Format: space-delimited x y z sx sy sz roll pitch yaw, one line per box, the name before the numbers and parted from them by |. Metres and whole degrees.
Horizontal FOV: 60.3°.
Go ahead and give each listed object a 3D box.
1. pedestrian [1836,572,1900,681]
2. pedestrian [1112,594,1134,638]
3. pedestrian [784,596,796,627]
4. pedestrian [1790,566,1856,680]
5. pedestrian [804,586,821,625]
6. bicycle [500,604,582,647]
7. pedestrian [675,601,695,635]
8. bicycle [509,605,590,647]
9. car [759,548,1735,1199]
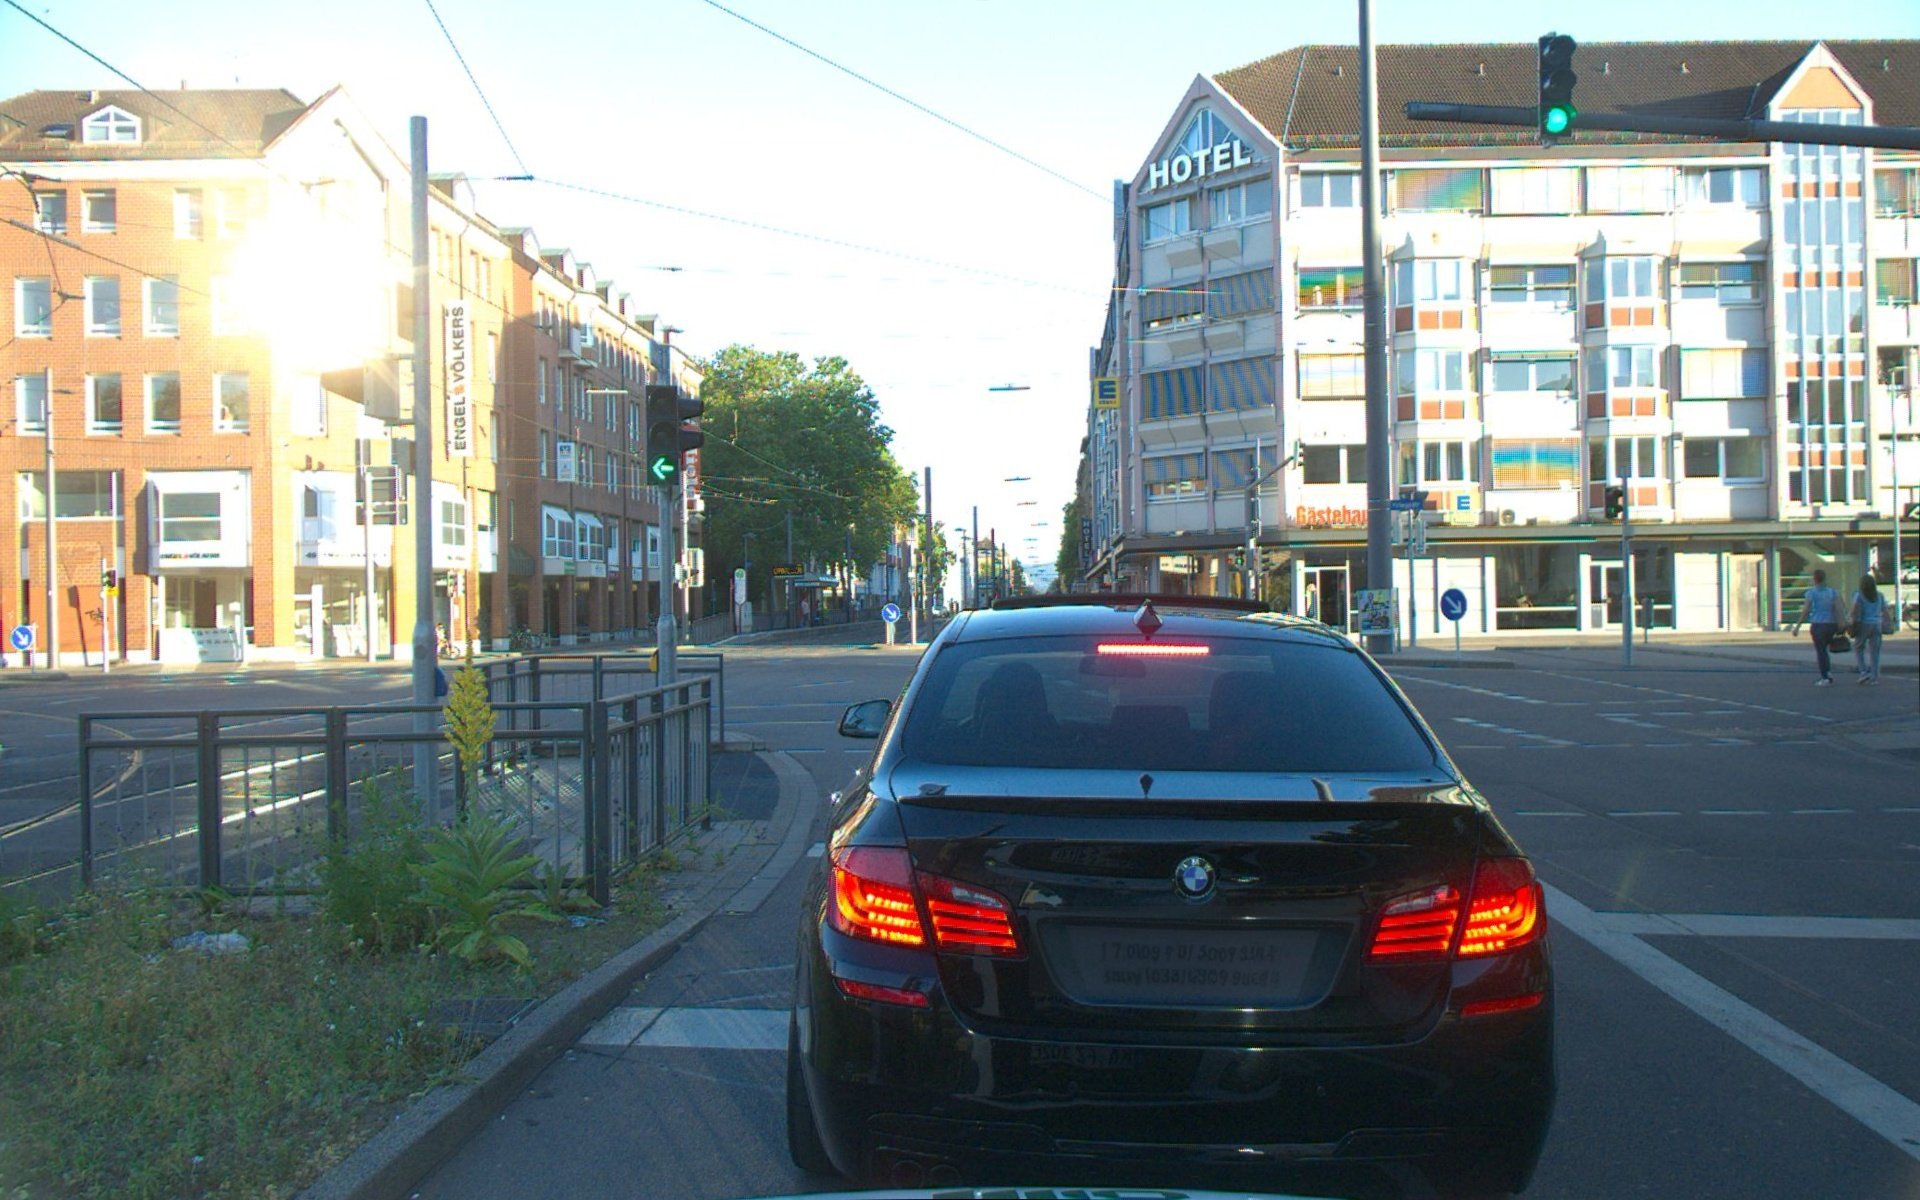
pedestrian | 13.825 0.397 25.174 0.692 1.610 0.822 -2 0 38
pedestrian | 6.115 0.602 62.061 0.691 1.575 0.907 0 3 -1
pedestrian | -9.192 0.626 89.392 0.573 1.686 0.678 -1 0 0
pedestrian | 12.959 0.335 24.832 0.713 1.678 0.768 -2 0 38
pedestrian | -7.939 0.308 89.013 0.792 2.049 0.678 -1 0 -1
bicycle | -18.097 1.104 71.544 3.228 1.756 1.070 -1 0 3
pedestrian | -16.842 1.126 101.391 1.063 2.049 1.084 -1 0 -2
bicycle | -18.031 1.131 72.712 3.229 1.756 1.069 -1 0 1
car | 0.508 0.678 5.219 1.803 1.521 4.291 1 0 -1
